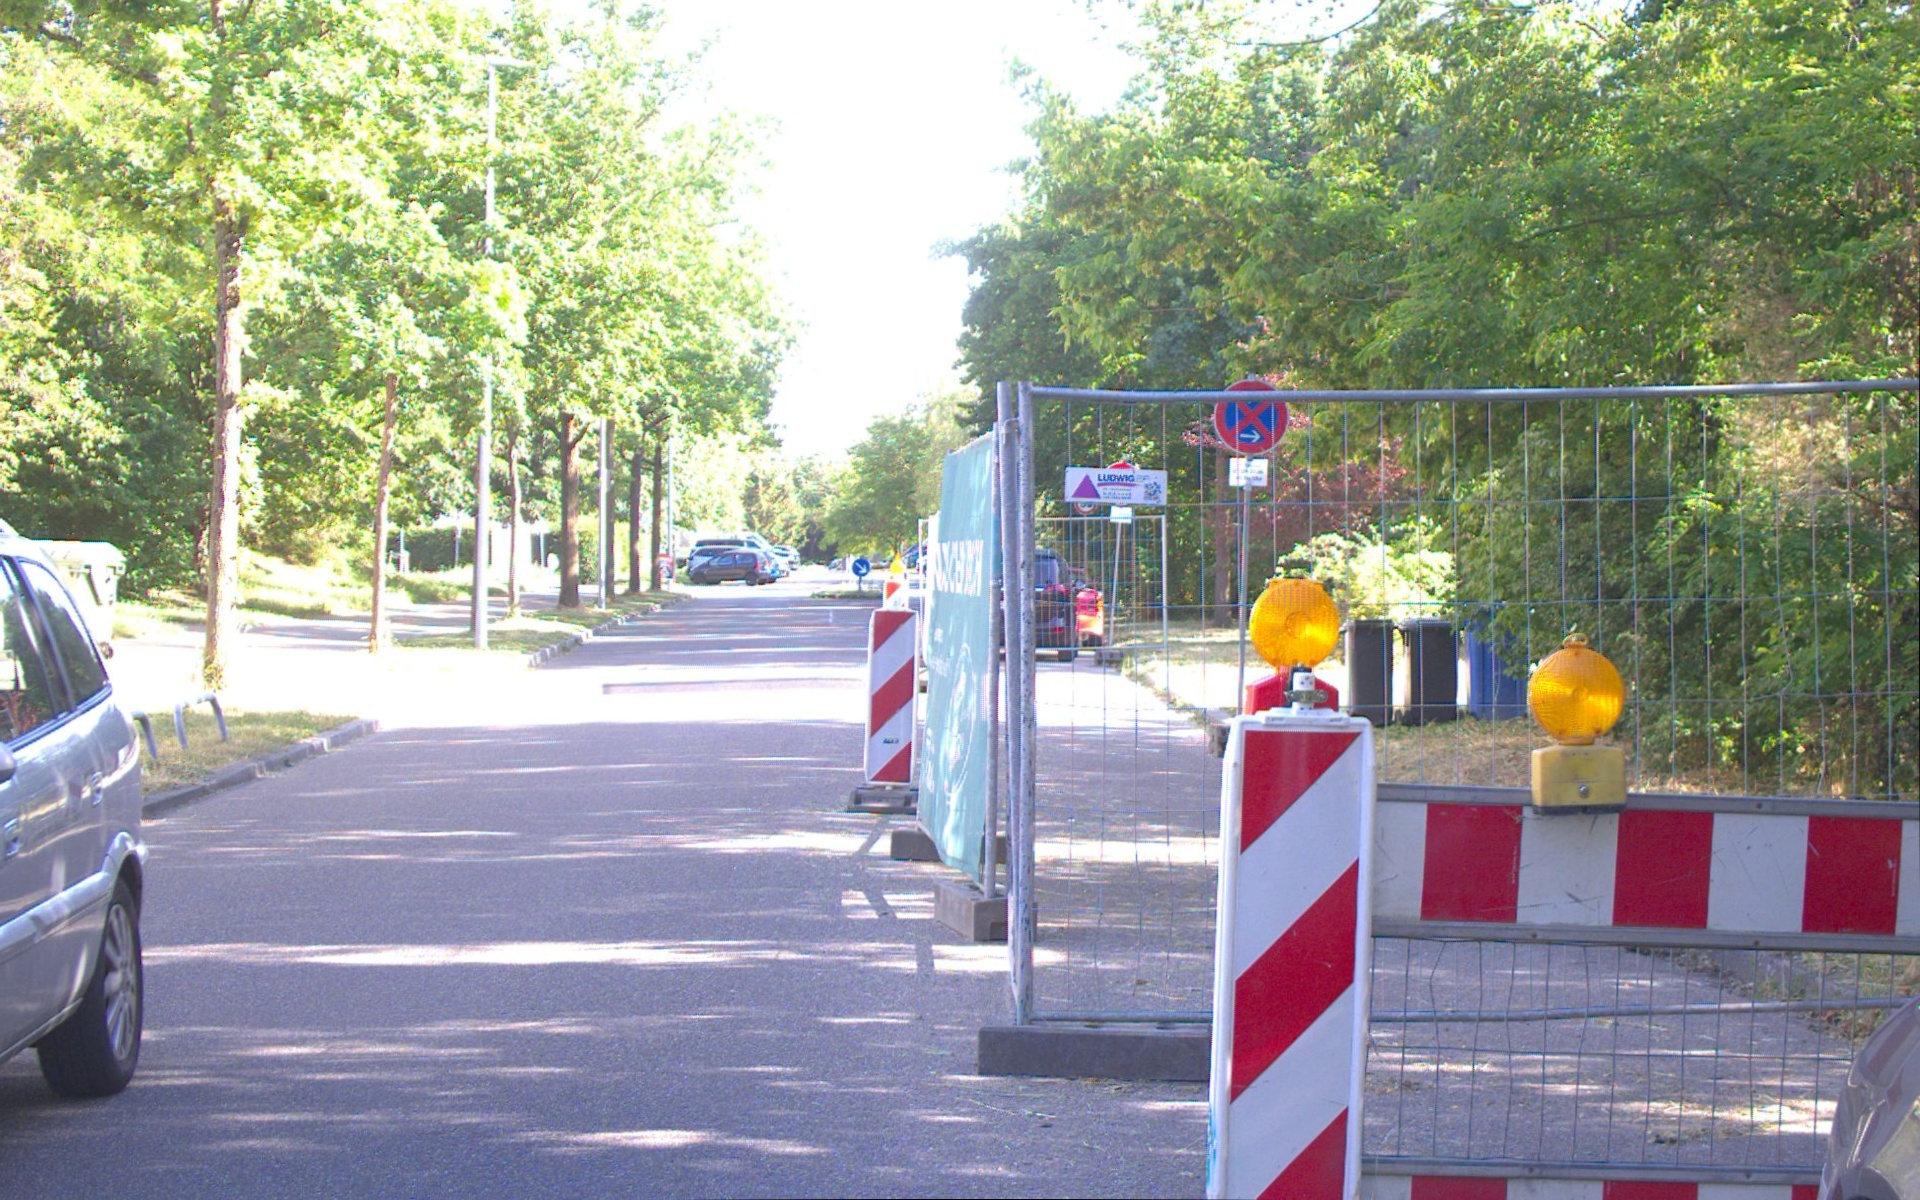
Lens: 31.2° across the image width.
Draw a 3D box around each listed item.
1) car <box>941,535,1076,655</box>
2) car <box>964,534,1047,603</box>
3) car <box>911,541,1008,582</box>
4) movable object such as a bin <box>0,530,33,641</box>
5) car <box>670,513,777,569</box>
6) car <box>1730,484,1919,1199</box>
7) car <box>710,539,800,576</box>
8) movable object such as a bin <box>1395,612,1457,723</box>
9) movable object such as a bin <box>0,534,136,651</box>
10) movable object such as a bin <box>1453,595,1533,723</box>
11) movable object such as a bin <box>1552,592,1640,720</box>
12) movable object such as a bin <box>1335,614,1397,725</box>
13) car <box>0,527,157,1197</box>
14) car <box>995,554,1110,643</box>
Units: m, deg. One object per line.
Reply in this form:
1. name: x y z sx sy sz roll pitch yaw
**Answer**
1. car: 0.766 -0.100 51.315 1.810 1.645 4.420 2 1 3
2. car: 1.228 -0.886 93.886 1.790 1.779 4.558 2 1 -5
3. car: -0.016 -1.597 143.274 3.839 1.571 1.688 2 1 6
4. movable object such as a bin: -12.774 -0.194 44.495 1.141 1.430 1.273 0 1 -35
5. car: -11.929 -2.984 172.867 5.199 2.612 2.294 2 1 -6
6. car: 2.036 0.710 2.935 1.678 1.616 4.138 1 1 -2
7. car: -9.782 -2.022 163.962 4.107 1.571 1.958 2 1 1
8. movable object such as a bin: 3.740 0.539 27.616 0.413 0.867 0.484 -1 0 -1
9. movable object such as a bin: -11.121 -0.104 42.809 1.270 1.430 1.181 0 1 15
10. movable object such as a bin: 4.259 0.464 27.519 0.519 0.996 0.608 -1 0 -1
11. movable object such as a bin: 5.108 0.443 27.631 0.562 0.996 0.608 -1 0 -1
12. movable object such as a bin: 3.251 0.551 27.527 0.413 0.867 0.484 -1 0 -1
13. car: -3.125 0.644 8.070 1.659 1.590 4.009 -2 1 -2
14. car: 1.533 -0.048 58.146 1.661 1.371 4.155 2 1 -2
